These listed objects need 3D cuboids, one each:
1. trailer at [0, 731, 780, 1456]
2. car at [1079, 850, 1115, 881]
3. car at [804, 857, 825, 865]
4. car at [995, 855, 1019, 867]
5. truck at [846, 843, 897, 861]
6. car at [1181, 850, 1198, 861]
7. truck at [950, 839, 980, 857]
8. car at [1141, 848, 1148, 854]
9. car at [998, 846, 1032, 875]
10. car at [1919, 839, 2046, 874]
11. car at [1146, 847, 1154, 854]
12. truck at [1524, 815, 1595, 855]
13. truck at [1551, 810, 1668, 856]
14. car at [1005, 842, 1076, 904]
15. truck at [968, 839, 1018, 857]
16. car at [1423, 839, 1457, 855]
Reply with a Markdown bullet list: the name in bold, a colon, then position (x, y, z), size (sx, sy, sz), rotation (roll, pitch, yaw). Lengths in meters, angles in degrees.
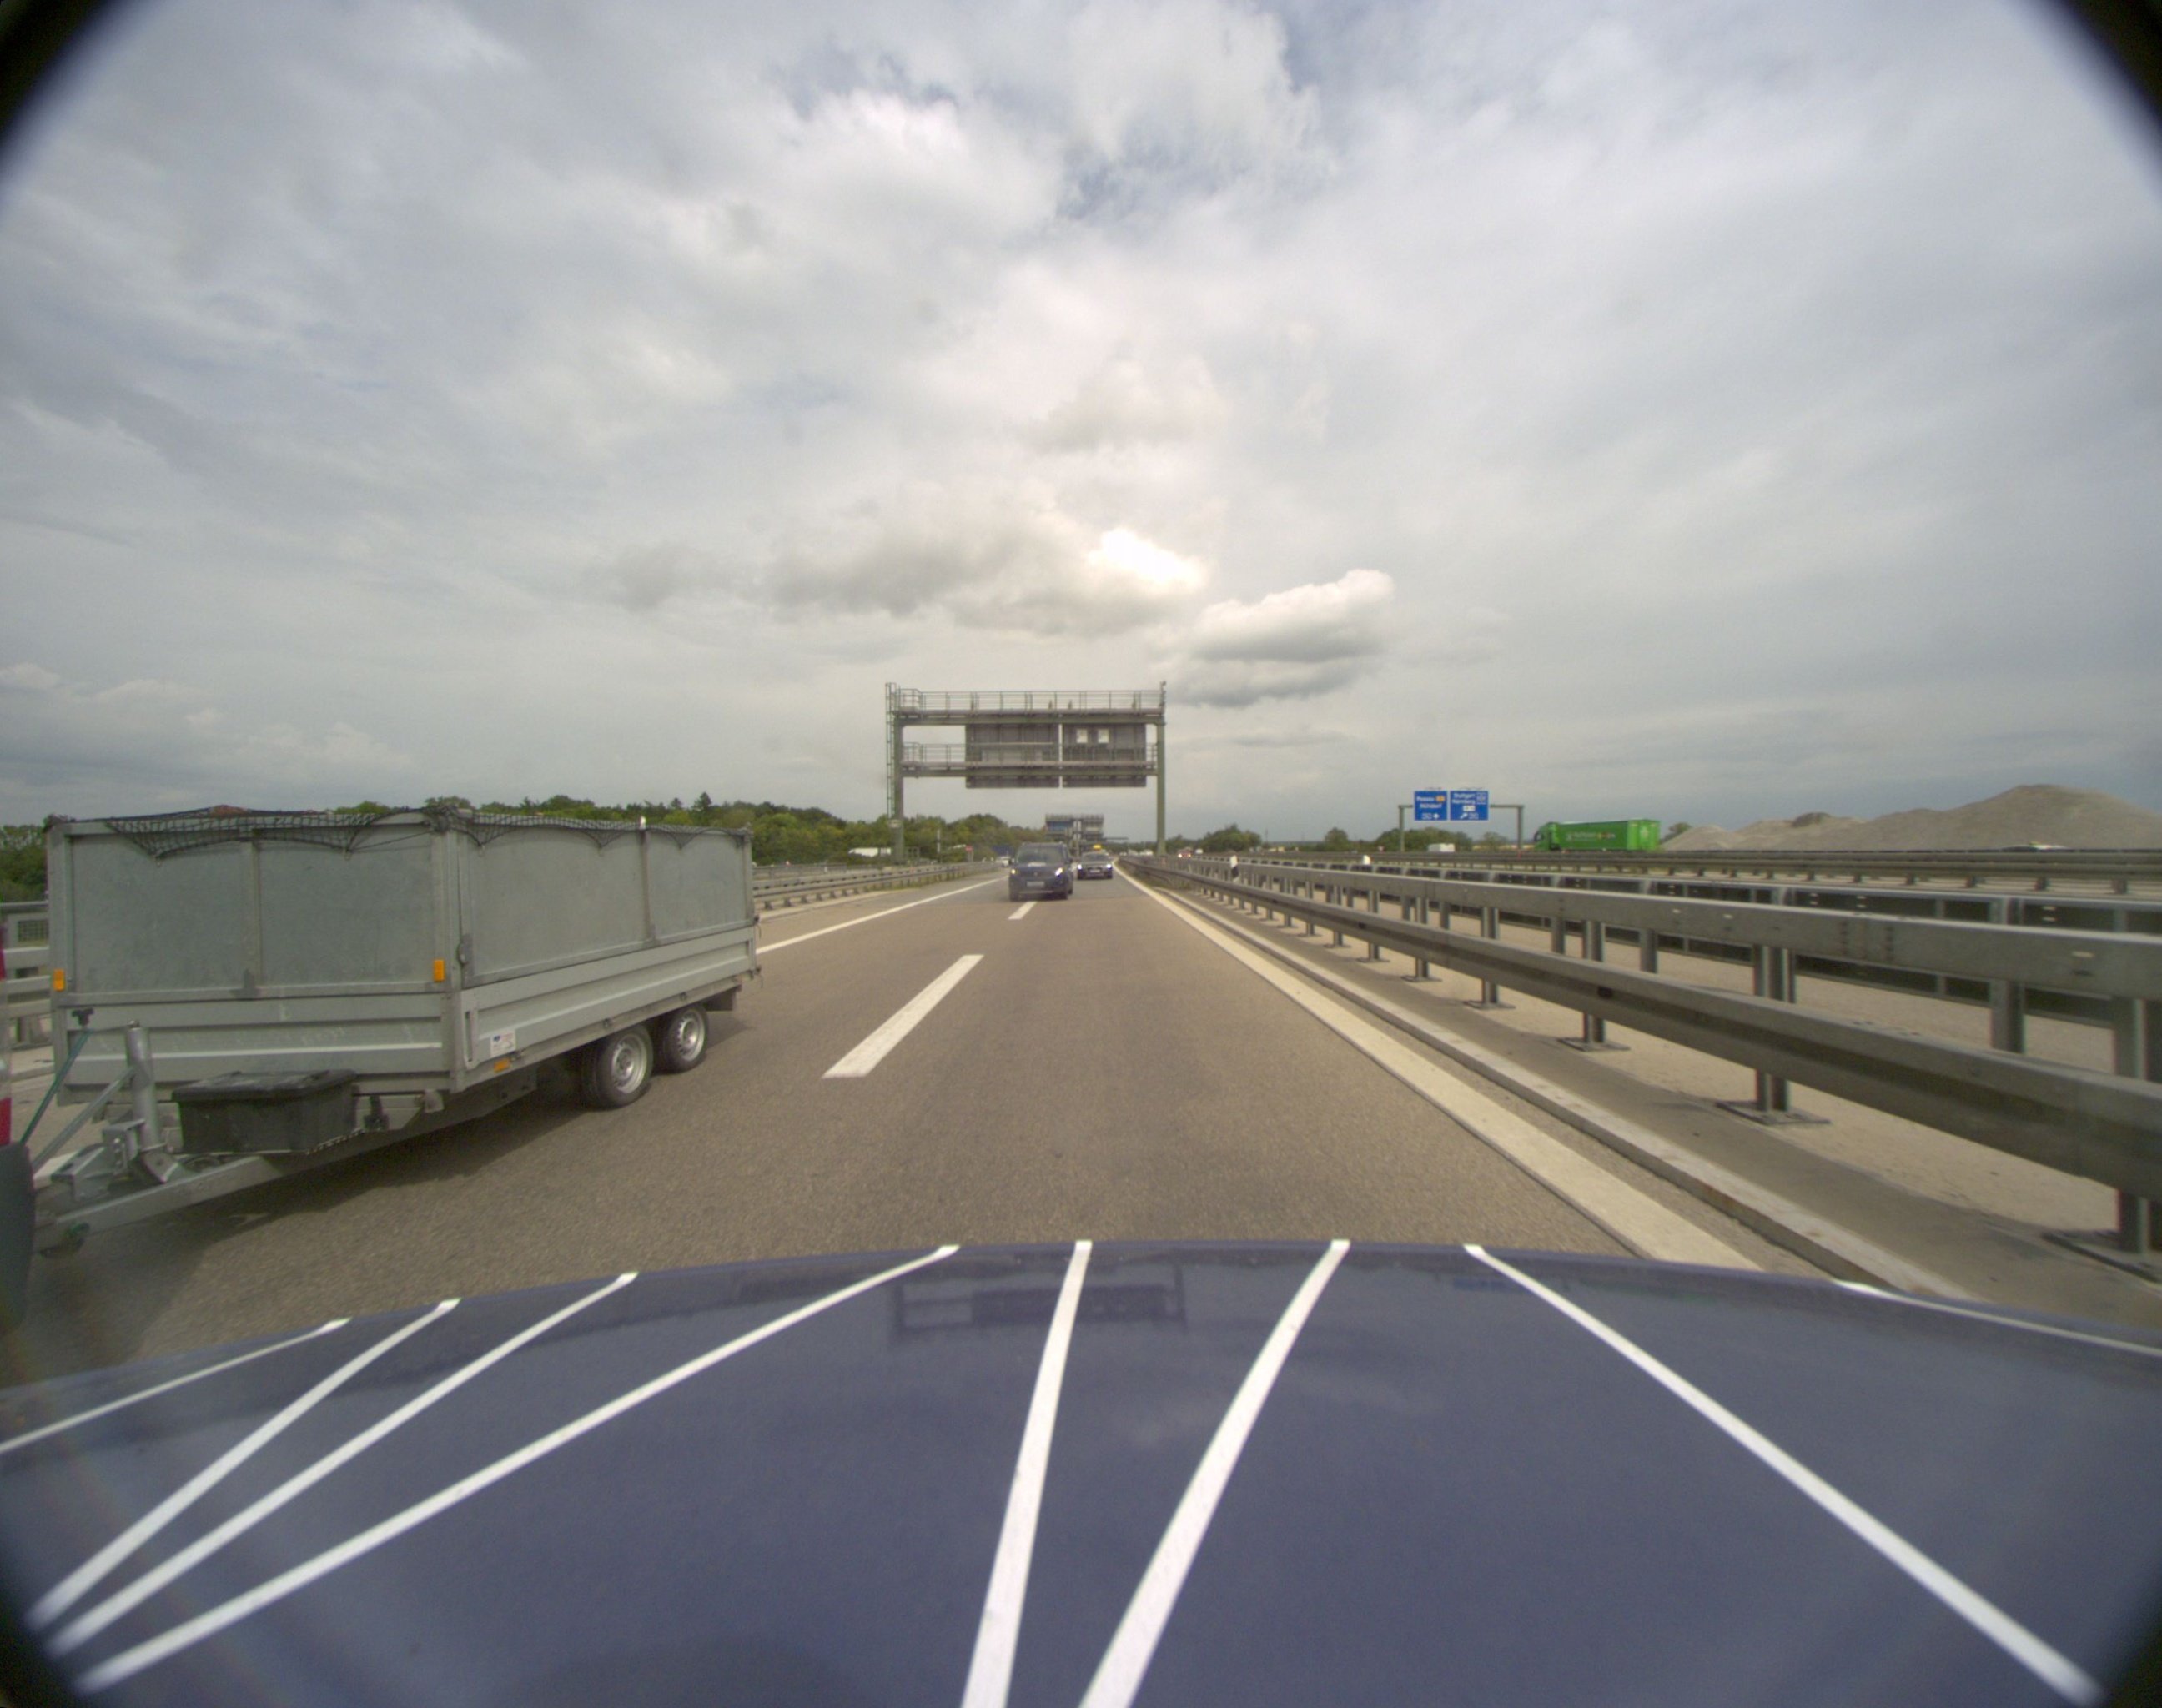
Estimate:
- **trailer**: position (-3.679, 0.679, 4.417), size (1.859, 2.002, 4.631), rotation (-2, 1, 1)
- **car**: position (0.823, 0.546, 39.575), size (1.747, 1.381, 3.999), rotation (-2, 2, 1)
- **car**: position (-54.732, 1.420, 155.788), size (4.003, 1.392, 1.556), rotation (-2, 1, -20)
- **car**: position (-10.272, 1.018, 105.126), size (1.728, 1.532, 4.473), rotation (-3, 1, -29)
- **truck**: position (-44.127, -0.480, 160.093), size (9.886, 3.383, 2.690), rotation (-3, 1, -23)
- **car**: position (16.234, 0.243, 114.339), size (1.824, 1.537, 4.354), rotation (-2, 1, -1)
- **truck**: position (-25.836, -1.275, 169.594), size (5.939, 3.780, 2.894), rotation (-3, 0, -43)
- **car**: position (21.446, -0.902, 256.013), size (1.999, 1.871, 3.999), rotation (-2, 1, -1)
- **car**: position (-4.358, 0.398, 50.482), size (1.862, 1.736, 3.999), rotation (-2, 1, 0)
- **car**: position (45.123, 0.073, 38.172), size (1.733, 1.619, 4.000), rotation (-2, 1, 2)
- **car**: position (20.845, -0.982, 229.417), size (1.998, 2.002, 4.465), rotation (-2, 1, 1)
- **truck**: position (45.996, -1.803, 73.251), size (3.049, 3.588, 5.893), rotation (-2, 1, 0)
- **truck**: position (45.950, -1.753, 66.653), size (3.021, 3.614, 10.435), rotation (-2, 1, 0)
- **car**: position (-1.226, 0.562, 24.882), size (1.998, 1.783, 4.000), rotation (-2, 1, 1)
- **truck**: position (-20.165, -1.410, 174.912), size (11.814, 3.836, 2.839), rotation (-3, 1, -43)
- **car**: position (50.454, -0.996, 106.882), size (2.201, 2.210, 5.516), rotation (-2, 1, 1)
